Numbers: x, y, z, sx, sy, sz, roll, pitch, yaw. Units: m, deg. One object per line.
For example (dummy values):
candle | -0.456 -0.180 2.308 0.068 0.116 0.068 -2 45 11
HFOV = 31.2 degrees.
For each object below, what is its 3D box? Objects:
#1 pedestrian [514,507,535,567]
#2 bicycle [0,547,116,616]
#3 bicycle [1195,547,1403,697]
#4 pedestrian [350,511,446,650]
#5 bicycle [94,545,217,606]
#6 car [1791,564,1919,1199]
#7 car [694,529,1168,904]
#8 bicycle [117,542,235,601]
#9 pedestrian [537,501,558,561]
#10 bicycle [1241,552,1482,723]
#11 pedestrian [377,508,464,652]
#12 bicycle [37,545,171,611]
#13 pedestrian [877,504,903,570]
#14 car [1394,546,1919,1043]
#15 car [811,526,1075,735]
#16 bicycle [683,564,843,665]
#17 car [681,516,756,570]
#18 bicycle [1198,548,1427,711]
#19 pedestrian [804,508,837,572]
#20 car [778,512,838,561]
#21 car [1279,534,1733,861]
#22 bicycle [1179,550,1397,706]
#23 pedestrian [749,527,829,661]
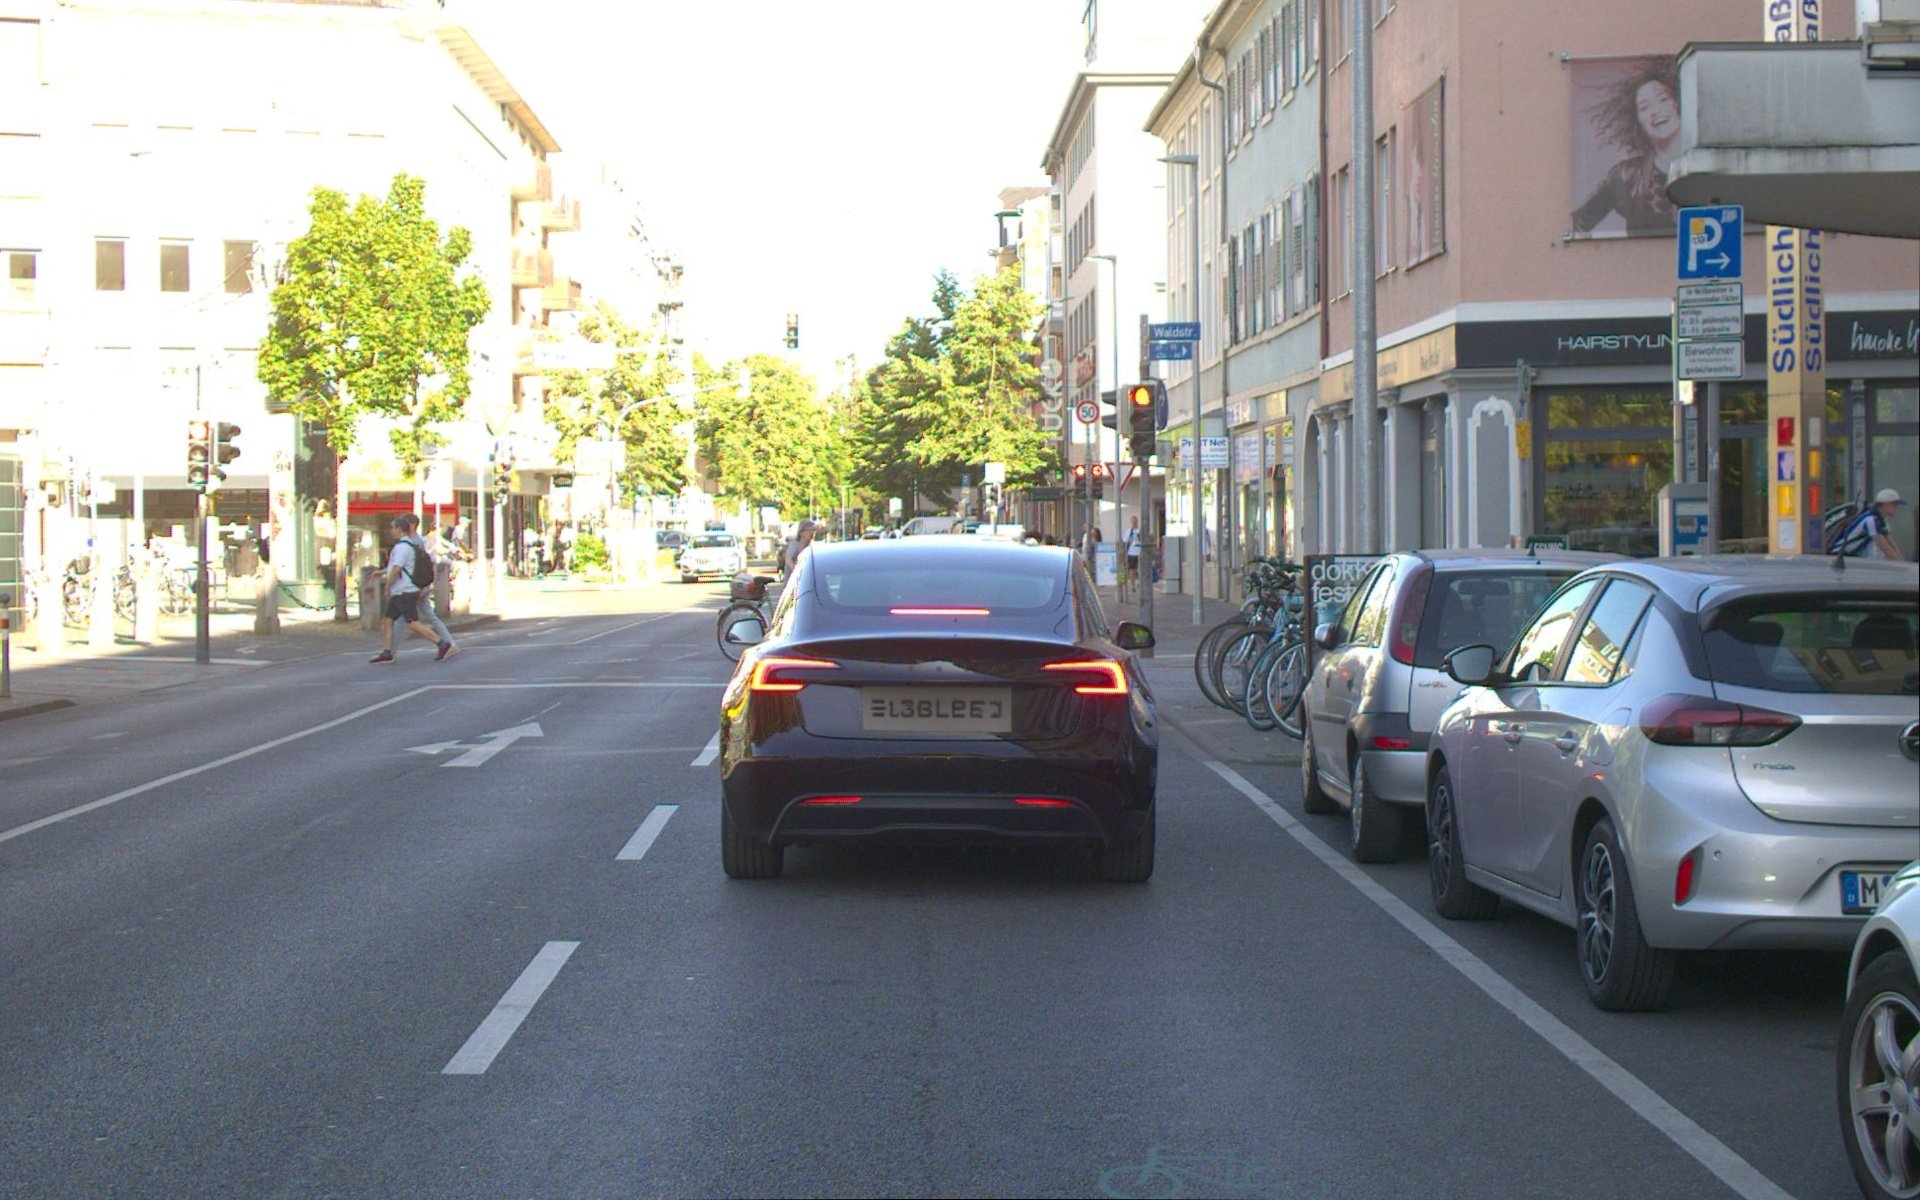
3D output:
pedestrian | -14.464 -2.088 114.143 0.626 2.007 0.707 0 1 0
bicycle | -14.882 -0.306 55.977 2.082 1.100 0.806 0 1 0
bicycle | 2.752 0.175 27.966 1.628 1.156 0.433 -2 1 1
pedestrian | -6.683 -0.241 40.911 0.986 1.631 0.737 0 1 3
bicycle | -14.794 -0.457 63.271 2.082 1.100 0.806 0 1 0
car | 2.855 0.694 5.755 1.738 1.442 4.465 0 1 -1
car | -0.099 0.416 15.342 1.850 1.450 3.786 0 1 1
bicycle | -14.922 -0.545 65.464 2.082 1.100 0.806 0 1 0
pedestrian | -13.699 -2.288 114.160 0.626 2.007 0.575 0 1 0
bicycle | 2.851 0.261 24.468 1.627 1.156 0.433 -2 1 -1
pedestrian | -6.553 -0.252 41.765 0.901 1.719 0.744 0 1 3
bicycle | -14.561 -0.371 58.495 2.082 1.100 0.806 0 1 0
pedestrian | -2.151 -1.924 105.491 0.627 2.007 0.558 1 1 24
car | 2.671 0.542 12.125 1.670 1.422 4.078 0 1 -1
car | -0.105 0.174 26.074 1.850 1.450 3.786 0 1 1
bicycle | -2.107 0.149 36.835 1.616 1.041 0.591 1 1 9
car | -7.511 -1.799 107.074 1.993 1.535 4.000 -3 1 0
bicycle | 2.628 0.216 25.695 1.627 1.156 0.433 -2 1 -1
pedestrian | -4.351 -1.875 107.226 0.750 2.007 0.798 0 1 -26
car | -5.359 -2.262 121.748 2.050 1.721 4.654 0 1 -1
car | 2.540 0.387 16.813 1.622 1.389 3.886 0 1 0
bicycle | 2.561 0.212 26.900 1.627 1.156 0.433 -2 1 -1
pedestrian | -1.853 -0.069 37.329 0.743 1.435 0.582 1 1 11
